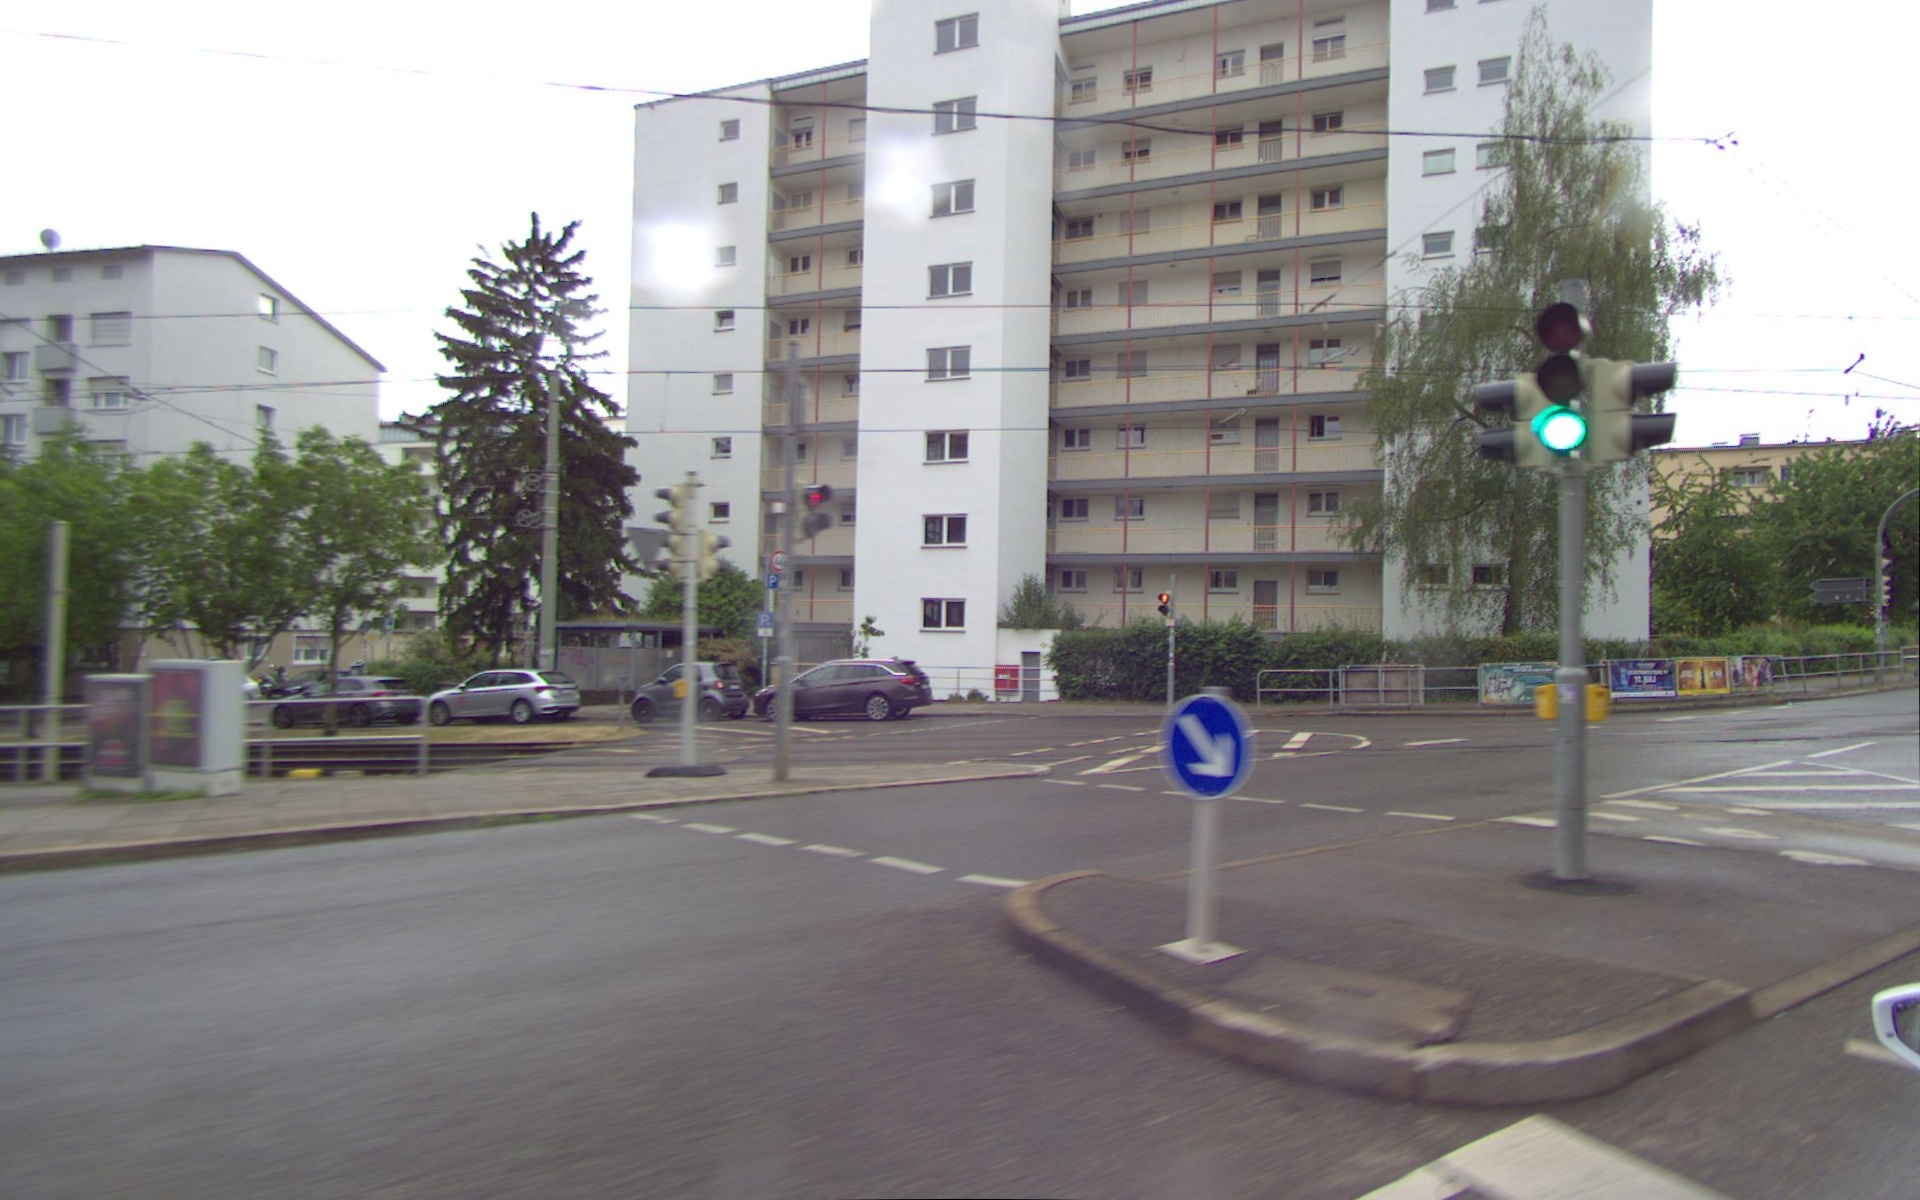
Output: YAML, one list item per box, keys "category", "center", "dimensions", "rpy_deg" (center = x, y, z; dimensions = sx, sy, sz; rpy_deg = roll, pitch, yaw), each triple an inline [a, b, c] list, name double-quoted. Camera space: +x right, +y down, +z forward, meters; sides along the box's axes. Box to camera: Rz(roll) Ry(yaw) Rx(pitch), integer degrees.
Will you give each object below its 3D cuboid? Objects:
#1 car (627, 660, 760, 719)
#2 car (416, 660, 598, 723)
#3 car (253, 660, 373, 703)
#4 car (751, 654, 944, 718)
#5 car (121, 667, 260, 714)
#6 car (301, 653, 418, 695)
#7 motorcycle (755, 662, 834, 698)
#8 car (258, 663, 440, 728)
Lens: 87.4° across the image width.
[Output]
- category: "car"
  center: [-6.955, 2.335, 26.312]
  dimensions: [2.834, 1.411, 1.812]
  rpy_deg: [-2, -2, 13]
- category: "car"
  center: [-12.463, 2.511, 27.713]
  dimensions: [4.225, 1.528, 2.001]
  rpy_deg: [-2, -2, 14]
- category: "car"
  center: [-30.011, 3.755, 46.791]
  dimensions: [1.959, 1.684, 4.588]
  rpy_deg: [2, -1, 12]
- category: "car"
  center: [-2.774, 2.144, 25.091]
  dimensions: [4.401, 1.480, 1.876]
  rpy_deg: [-2, -4, 14]
- category: "car"
  center: [-31.237, 3.640, 40.933]
  dimensions: [1.959, 1.583, 4.196]
  rpy_deg: [2, -1, 12]
- category: "car"
  center: [-24.236, 2.961, 40.725]
  dimensions: [1.789, 1.462, 4.003]
  rpy_deg: [2, -1, 12]
- category: "motorcycle"
  center: [-5.076, 2.463, 30.859]
  dimensions: [2.192, 0.952, 0.899]
  rpy_deg: [-4, -2, 19]
- category: "car"
  center: [-17.431, 2.713, 28.730]
  dimensions: [4.225, 1.527, 2.001]
  rpy_deg: [-4, -2, 14]
